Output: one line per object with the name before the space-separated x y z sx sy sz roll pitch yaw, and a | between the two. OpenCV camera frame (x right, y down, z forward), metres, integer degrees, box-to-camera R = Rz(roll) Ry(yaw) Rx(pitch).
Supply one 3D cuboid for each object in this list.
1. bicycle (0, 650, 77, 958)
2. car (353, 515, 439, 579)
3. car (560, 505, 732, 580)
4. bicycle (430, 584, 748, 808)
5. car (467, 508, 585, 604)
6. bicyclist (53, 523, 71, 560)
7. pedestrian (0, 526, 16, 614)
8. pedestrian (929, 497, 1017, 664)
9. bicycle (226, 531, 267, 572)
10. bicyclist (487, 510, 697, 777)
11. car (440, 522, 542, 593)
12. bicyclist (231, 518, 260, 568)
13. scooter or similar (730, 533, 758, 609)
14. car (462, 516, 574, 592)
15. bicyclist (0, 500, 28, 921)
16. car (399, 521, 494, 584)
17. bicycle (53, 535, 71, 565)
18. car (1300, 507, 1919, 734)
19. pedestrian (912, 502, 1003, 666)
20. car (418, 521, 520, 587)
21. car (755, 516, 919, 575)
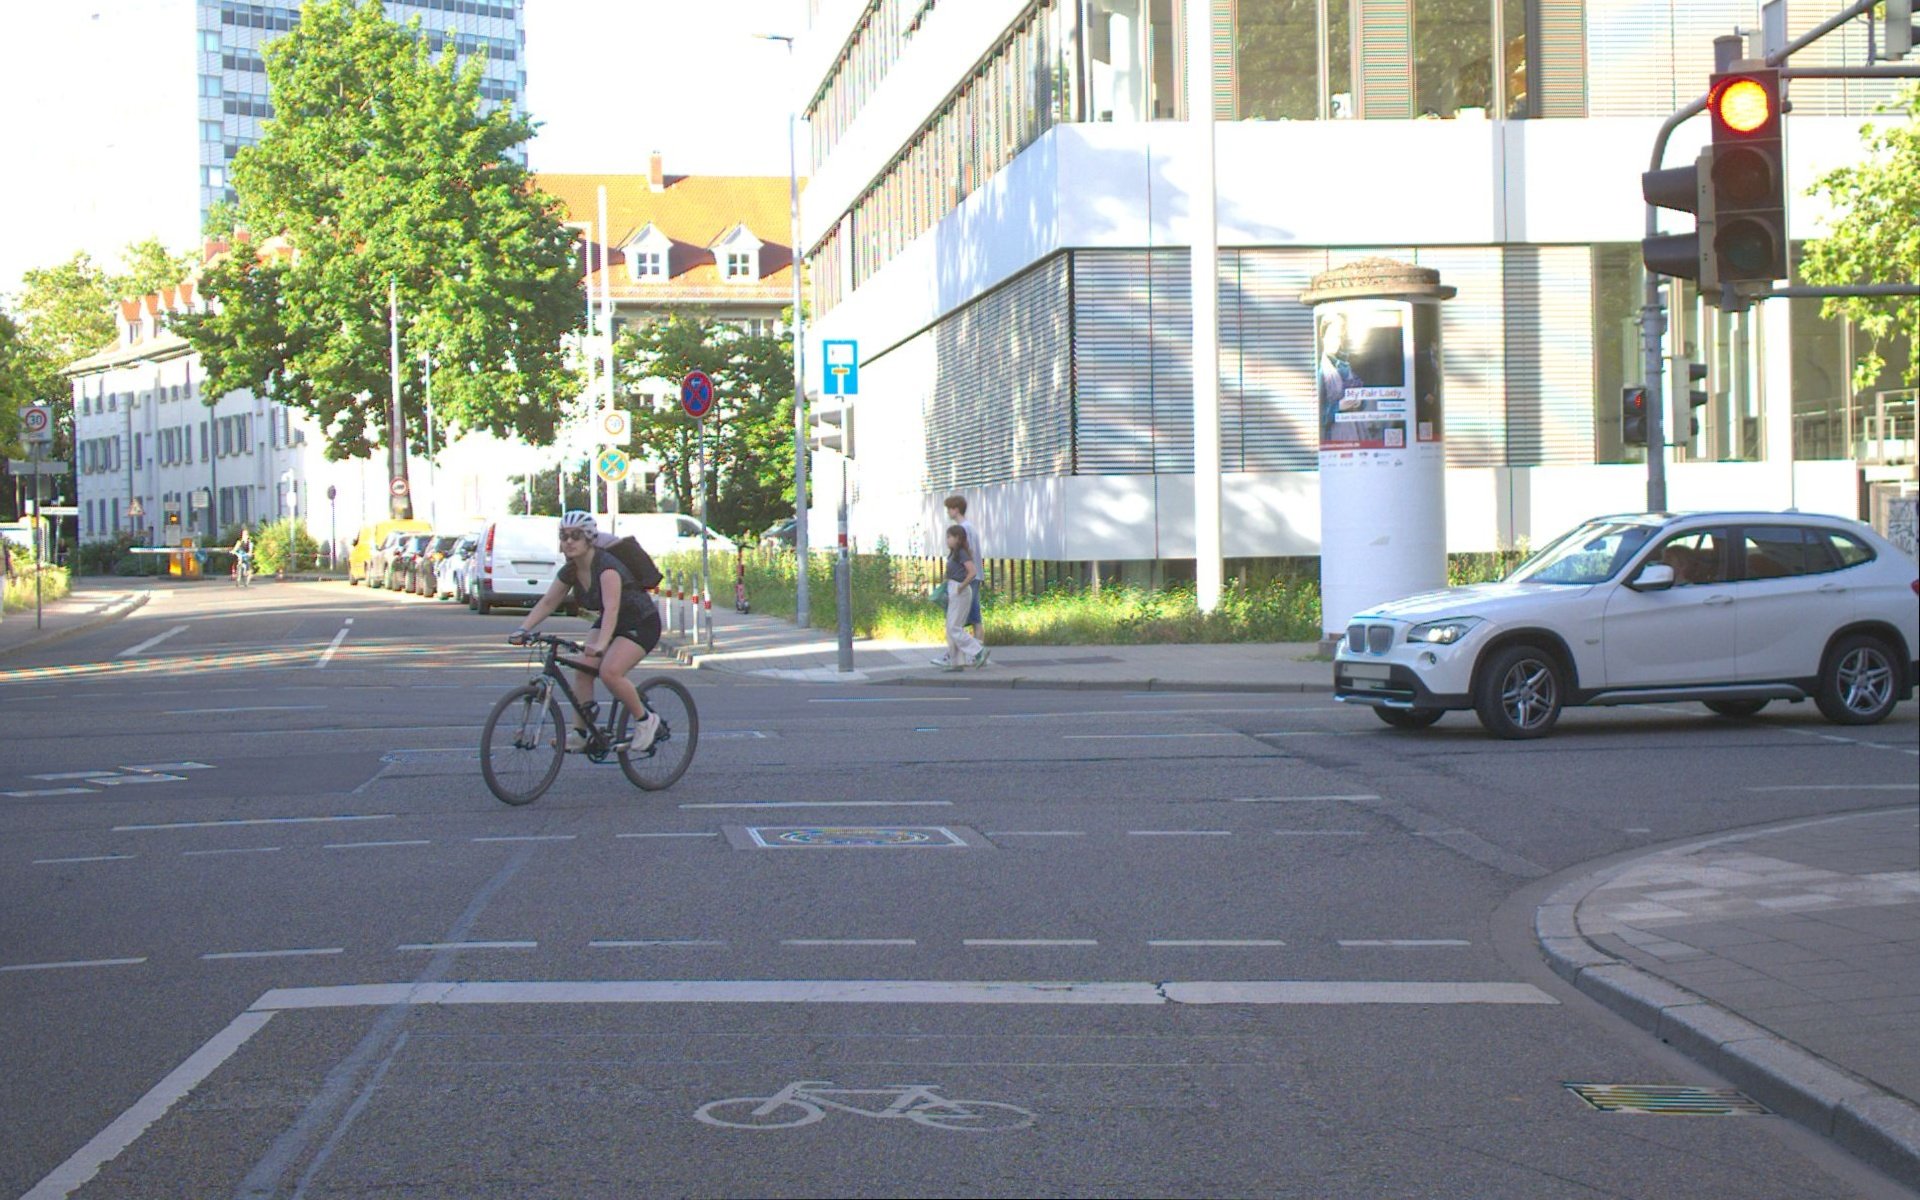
bicycle | -4.017 0.807 13.375 0.625 1.148 1.784 -1 1 2
car | -15.741 -1.470 95.845 1.993 1.719 4.653 1 1 -14
car | -9.405 -1.726 102.941 4.791 2.151 2.001 1 0 -17
bicycle | -2.053 0.509 19.219 0.627 1.148 1.780 0 2 43
car | -8.221 -0.826 64.833 1.993 1.719 4.653 1 1 -10
bicyclist | -35.538 -2.309 136.047 0.615 1.467 0.741 -1 1 -15
pedestrian | -17.608 -0.551 62.730 0.699 1.581 0.637 1 0 -16
pedestrian | 0.139 -0.215 37.302 0.765 1.789 0.647 1 0 19
bicycle | -20.430 -1.398 98.406 0.590 1.148 1.970 -1 1 5
bicyclist | -2.054 0.227 19.217 0.627 1.441 0.972 0 2 43
car | -10.507 -0.948 76.818 1.993 1.493 4.653 1 1 -11
bicyclist | -20.440 -1.636 98.384 0.590 1.392 0.747 -1 1 5
scooter or similar | -3.661 -0.500 58.302 0.437 1.252 1.420 -1 1 -4
car | -9.173 -0.946 71.047 1.993 1.493 4.653 1 1 -11
bicyclist | -4.032 0.433 13.193 0.625 1.623 0.826 -1 1 2
car | -12.882 -1.180 85.989 1.993 1.493 4.653 1 1 -13
bicycle | -35.546 -1.991 136.091 0.615 1.148 1.970 -1 1 -15
car | 4.781 0.103 24.556 4.354 1.509 1.719 -1 1 -19
pedestrian | -0.024 -0.172 36.428 0.765 1.713 0.647 1 0 19
car | -11.628 -1.075 81.265 1.993 1.493 4.288 1 1 -13
car | -3.758 -1.655 104.785 4.635 1.719 2.001 1 1 -16
